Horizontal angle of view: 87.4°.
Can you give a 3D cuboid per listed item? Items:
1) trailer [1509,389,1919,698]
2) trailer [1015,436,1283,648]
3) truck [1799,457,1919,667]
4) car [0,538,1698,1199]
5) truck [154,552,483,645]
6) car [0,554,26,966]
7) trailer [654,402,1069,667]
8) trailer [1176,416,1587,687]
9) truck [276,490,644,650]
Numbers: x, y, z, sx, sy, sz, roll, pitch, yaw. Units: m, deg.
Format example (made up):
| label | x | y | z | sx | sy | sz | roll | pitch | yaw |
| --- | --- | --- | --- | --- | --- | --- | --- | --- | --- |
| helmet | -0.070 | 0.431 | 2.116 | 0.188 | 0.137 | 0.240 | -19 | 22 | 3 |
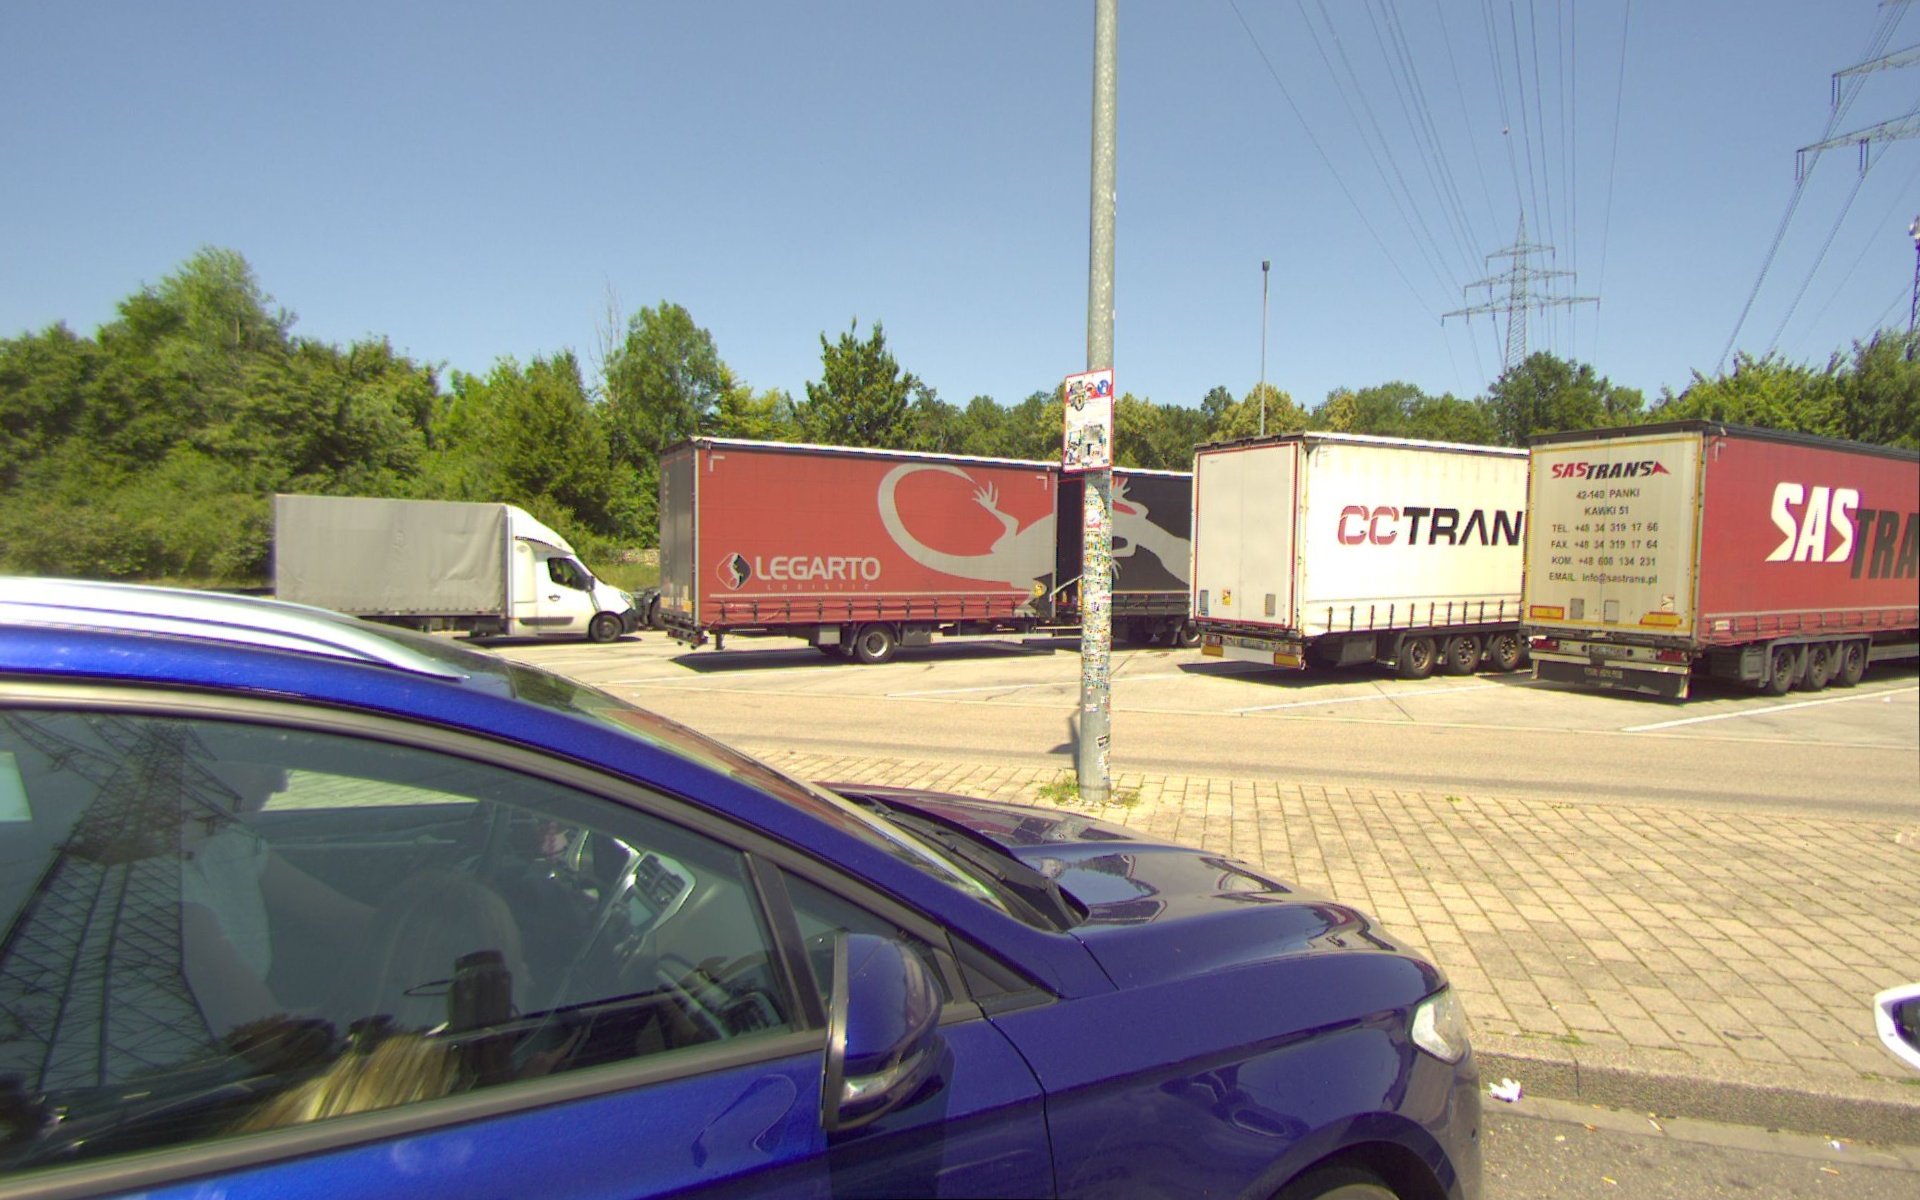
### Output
| label | x | y | z | sx | sy | sz | roll | pitch | yaw |
| --- | --- | --- | --- | --- | --- | --- | --- | --- | --- |
| trailer | 15.256 | -0.754 | 18.427 | 13.046 | 4.276 | 2.786 | 0 | 0 | -31 |
| trailer | 4.585 | -1.224 | 24.115 | 6.076 | 4.504 | 2.665 | 0 | 0 | -30 |
| truck | 21.439 | -0.748 | 22.063 | 5.824 | 4.189 | 2.792 | 0 | 0 | -30 |
| car | -0.981 | 0.673 | 1.462 | 4.362 | 1.437 | 1.731 | 1 | 0 | -30 |
| truck | -15.324 | -0.028 | 24.531 | 6.538 | 2.040 | 1.984 | 0 | 0 | -30 |
| car | -4.318 | 0.522 | 2.202 | 3.077 | 1.378 | 1.334 | 1 | 0 | -30 |
| trailer | -1.814 | -1.095 | 20.243 | 7.963 | 4.510 | 2.648 | 0 | 0 | -31 |
| trailer | 8.095 | -0.759 | 18.873 | 8.189 | 4.208 | 2.741 | 0 | 1 | -30 |
| truck | -11.085 | -0.589 | 22.805 | 7.171 | 3.194 | 2.160 | 0 | 1 | -30 |
